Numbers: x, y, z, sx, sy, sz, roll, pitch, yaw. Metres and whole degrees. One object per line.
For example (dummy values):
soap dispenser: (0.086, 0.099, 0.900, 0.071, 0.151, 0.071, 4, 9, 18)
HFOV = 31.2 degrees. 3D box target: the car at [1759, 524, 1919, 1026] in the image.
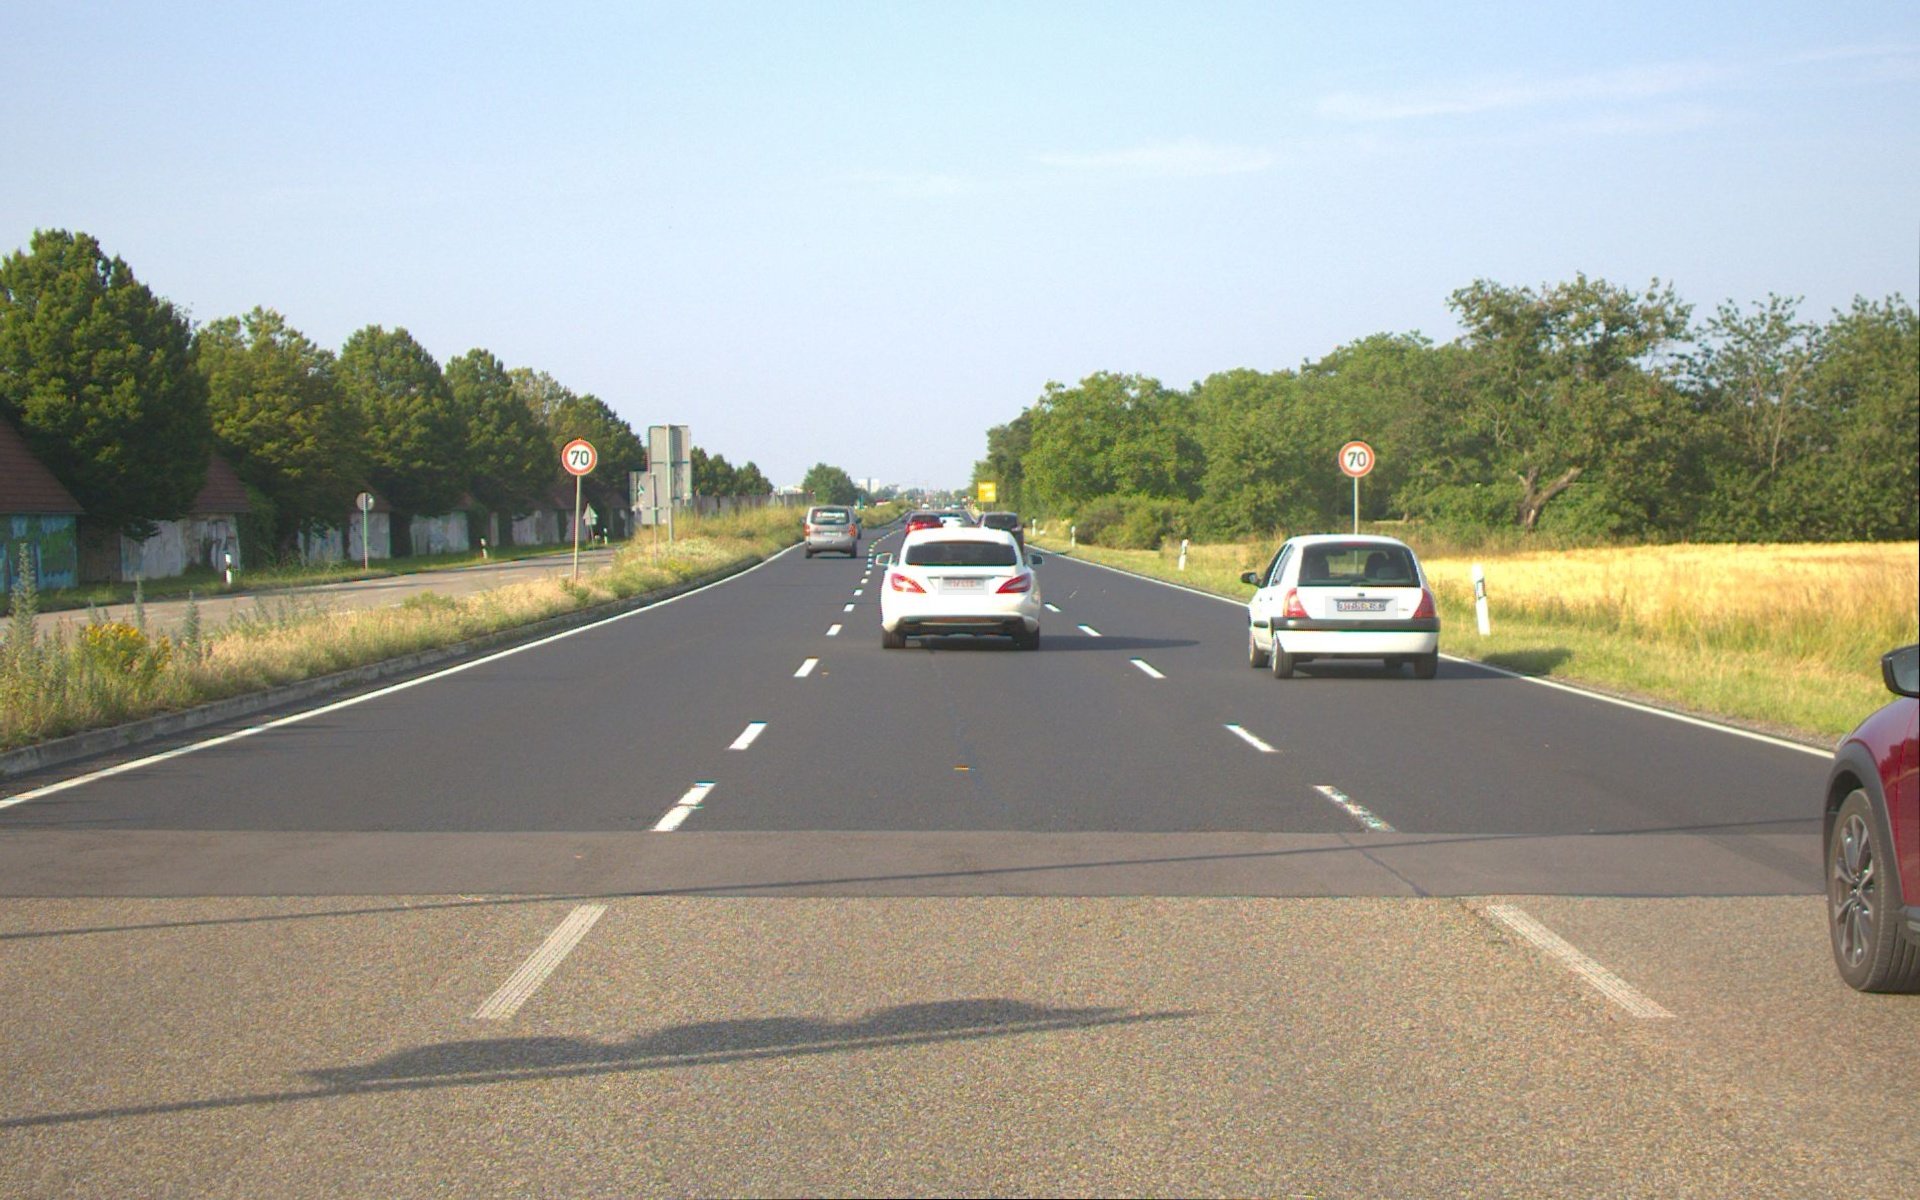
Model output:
car: (3.733, 0.536, 9.974, 1.704, 1.500, 4.501, 0, 1, -1)

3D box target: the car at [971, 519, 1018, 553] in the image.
car: (1.634, -3.082, 166.328, 1.993, 1.579, 4.285, 0, 1, -3)

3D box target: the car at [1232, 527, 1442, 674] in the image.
car: (3.737, -0.024, 34.640, 1.617, 1.382, 3.952, 0, 1, -1)

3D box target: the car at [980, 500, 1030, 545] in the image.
car: (1.725, -2.986, 132.987, 1.828, 1.722, 4.000, 0, 1, -1)

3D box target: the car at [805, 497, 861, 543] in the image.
car: (-4.549, -2.878, 123.729, 1.758, 1.612, 4.000, 1, 1, 2)

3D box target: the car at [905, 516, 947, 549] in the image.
car: (-1.536, -3.004, 153.779, 1.812, 1.431, 3.859, 0, 1, -1)

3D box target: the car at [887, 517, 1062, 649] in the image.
car: (0.156, -0.225, 41.535, 1.993, 1.511, 4.000, 1, 1, 0)

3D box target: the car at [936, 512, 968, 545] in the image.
car: (-0.473, -4.223, 203.927, 1.803, 1.897, 3.559, 1, 1, 1)
